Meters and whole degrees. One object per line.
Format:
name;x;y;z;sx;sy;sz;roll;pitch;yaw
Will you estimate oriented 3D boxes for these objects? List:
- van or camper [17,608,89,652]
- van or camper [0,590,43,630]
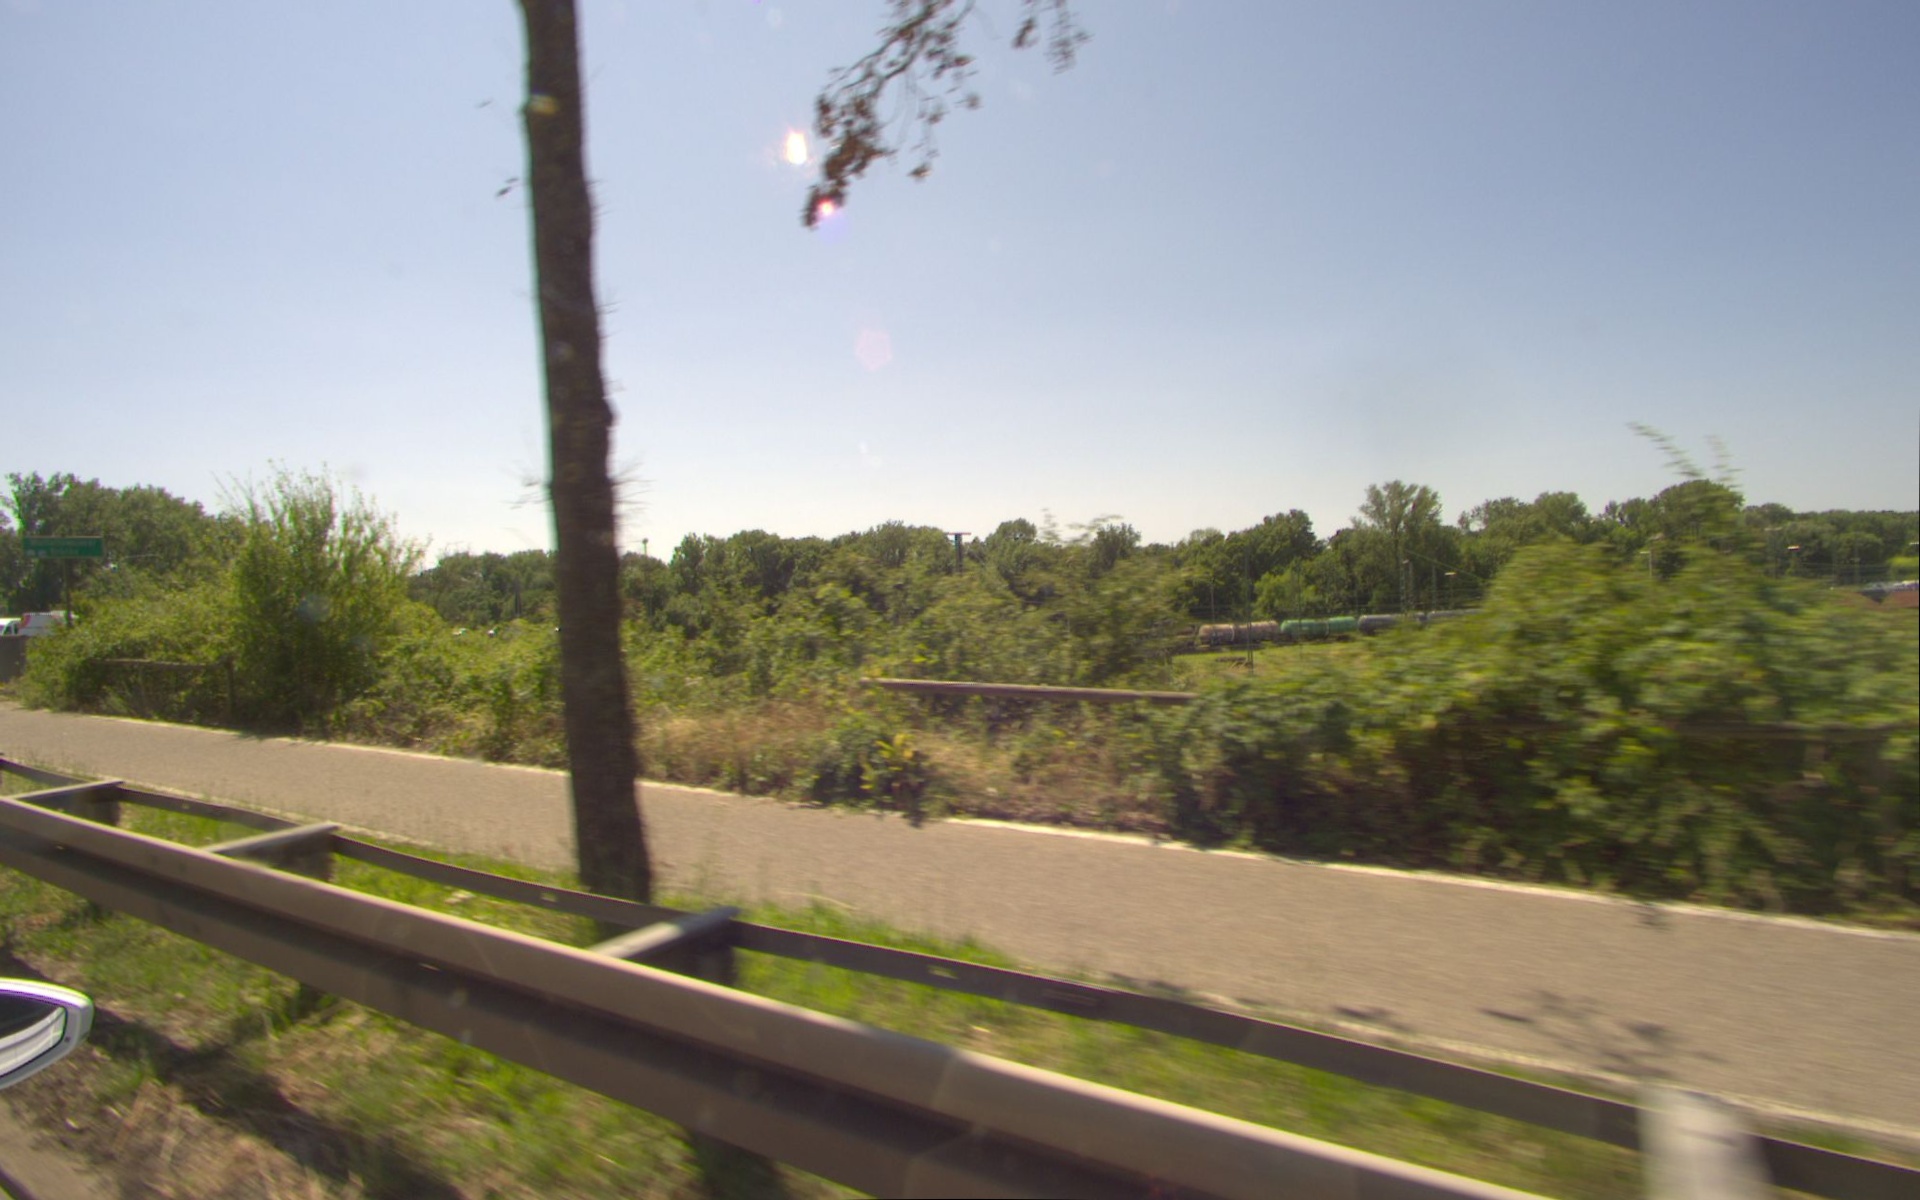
van or camper;-58.630;1.930;64.856;2.178;2.746;5.897;0;-1;-29
van or camper;-63.878;0.695;67.001;2.023;2.570;5.862;1;-1;-25
